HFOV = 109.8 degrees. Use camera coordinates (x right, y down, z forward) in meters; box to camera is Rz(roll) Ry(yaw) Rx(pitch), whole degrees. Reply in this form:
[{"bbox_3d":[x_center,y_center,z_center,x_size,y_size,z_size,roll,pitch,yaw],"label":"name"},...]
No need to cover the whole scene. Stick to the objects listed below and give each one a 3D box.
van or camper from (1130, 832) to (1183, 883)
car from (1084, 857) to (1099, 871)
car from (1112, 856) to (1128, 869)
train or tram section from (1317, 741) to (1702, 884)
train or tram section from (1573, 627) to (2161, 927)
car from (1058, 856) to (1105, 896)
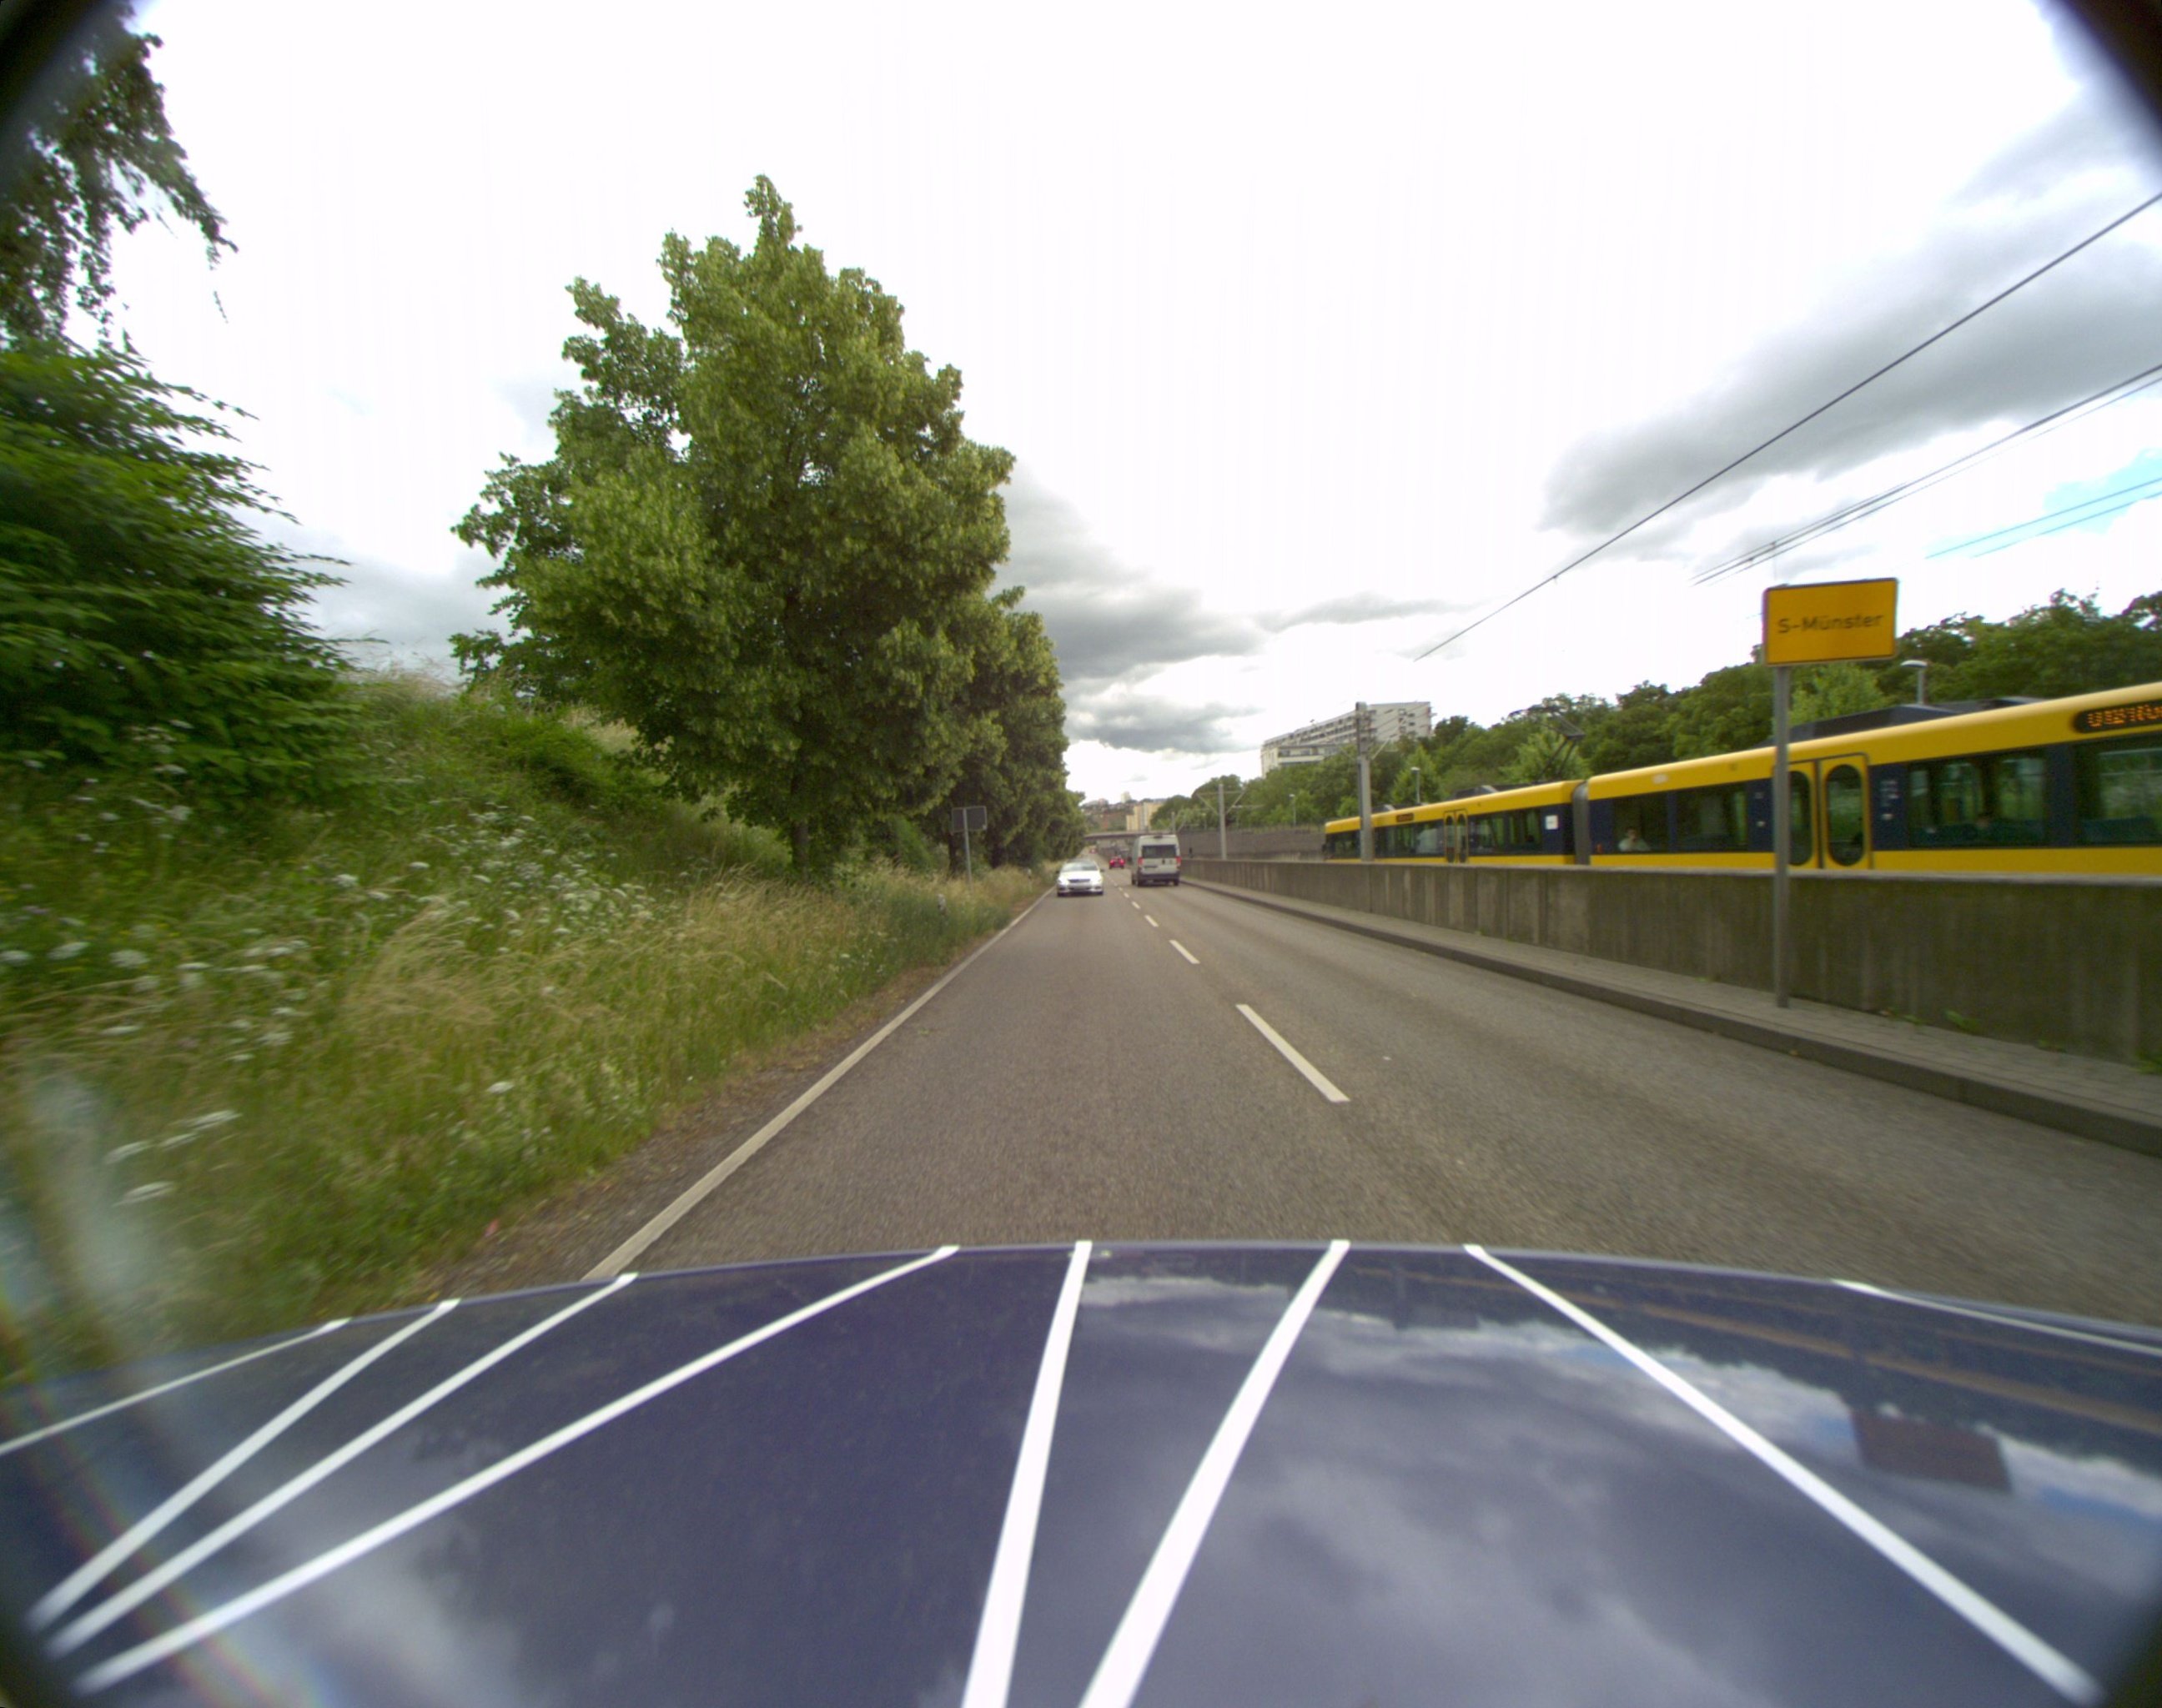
[{"bbox_3d":[3.834,0.180,39.514,2.088,2.382,6.137,-2,0,0],"label":"van or camper"},{"bbox_3d":[1.432,1.388,104.542,1.998,1.745,4.000,-2,0,1],"label":"car"},{"bbox_3d":[4.671,1.010,91.732,1.667,1.536,3.952,-2,0,0],"label":"car"},{"bbox_3d":[12.520,-1.030,26.431,2.818,3.099,18.913,-2,1,1],"label":"train or tram section"},{"bbox_3d":[12.437,-0.817,7.419,2.811,3.059,19.098,-2,1,0],"label":"train or tram section"},{"bbox_3d":[0.035,0.899,32.211,1.842,1.499,4.160,-1,0,1],"label":"car"}]
